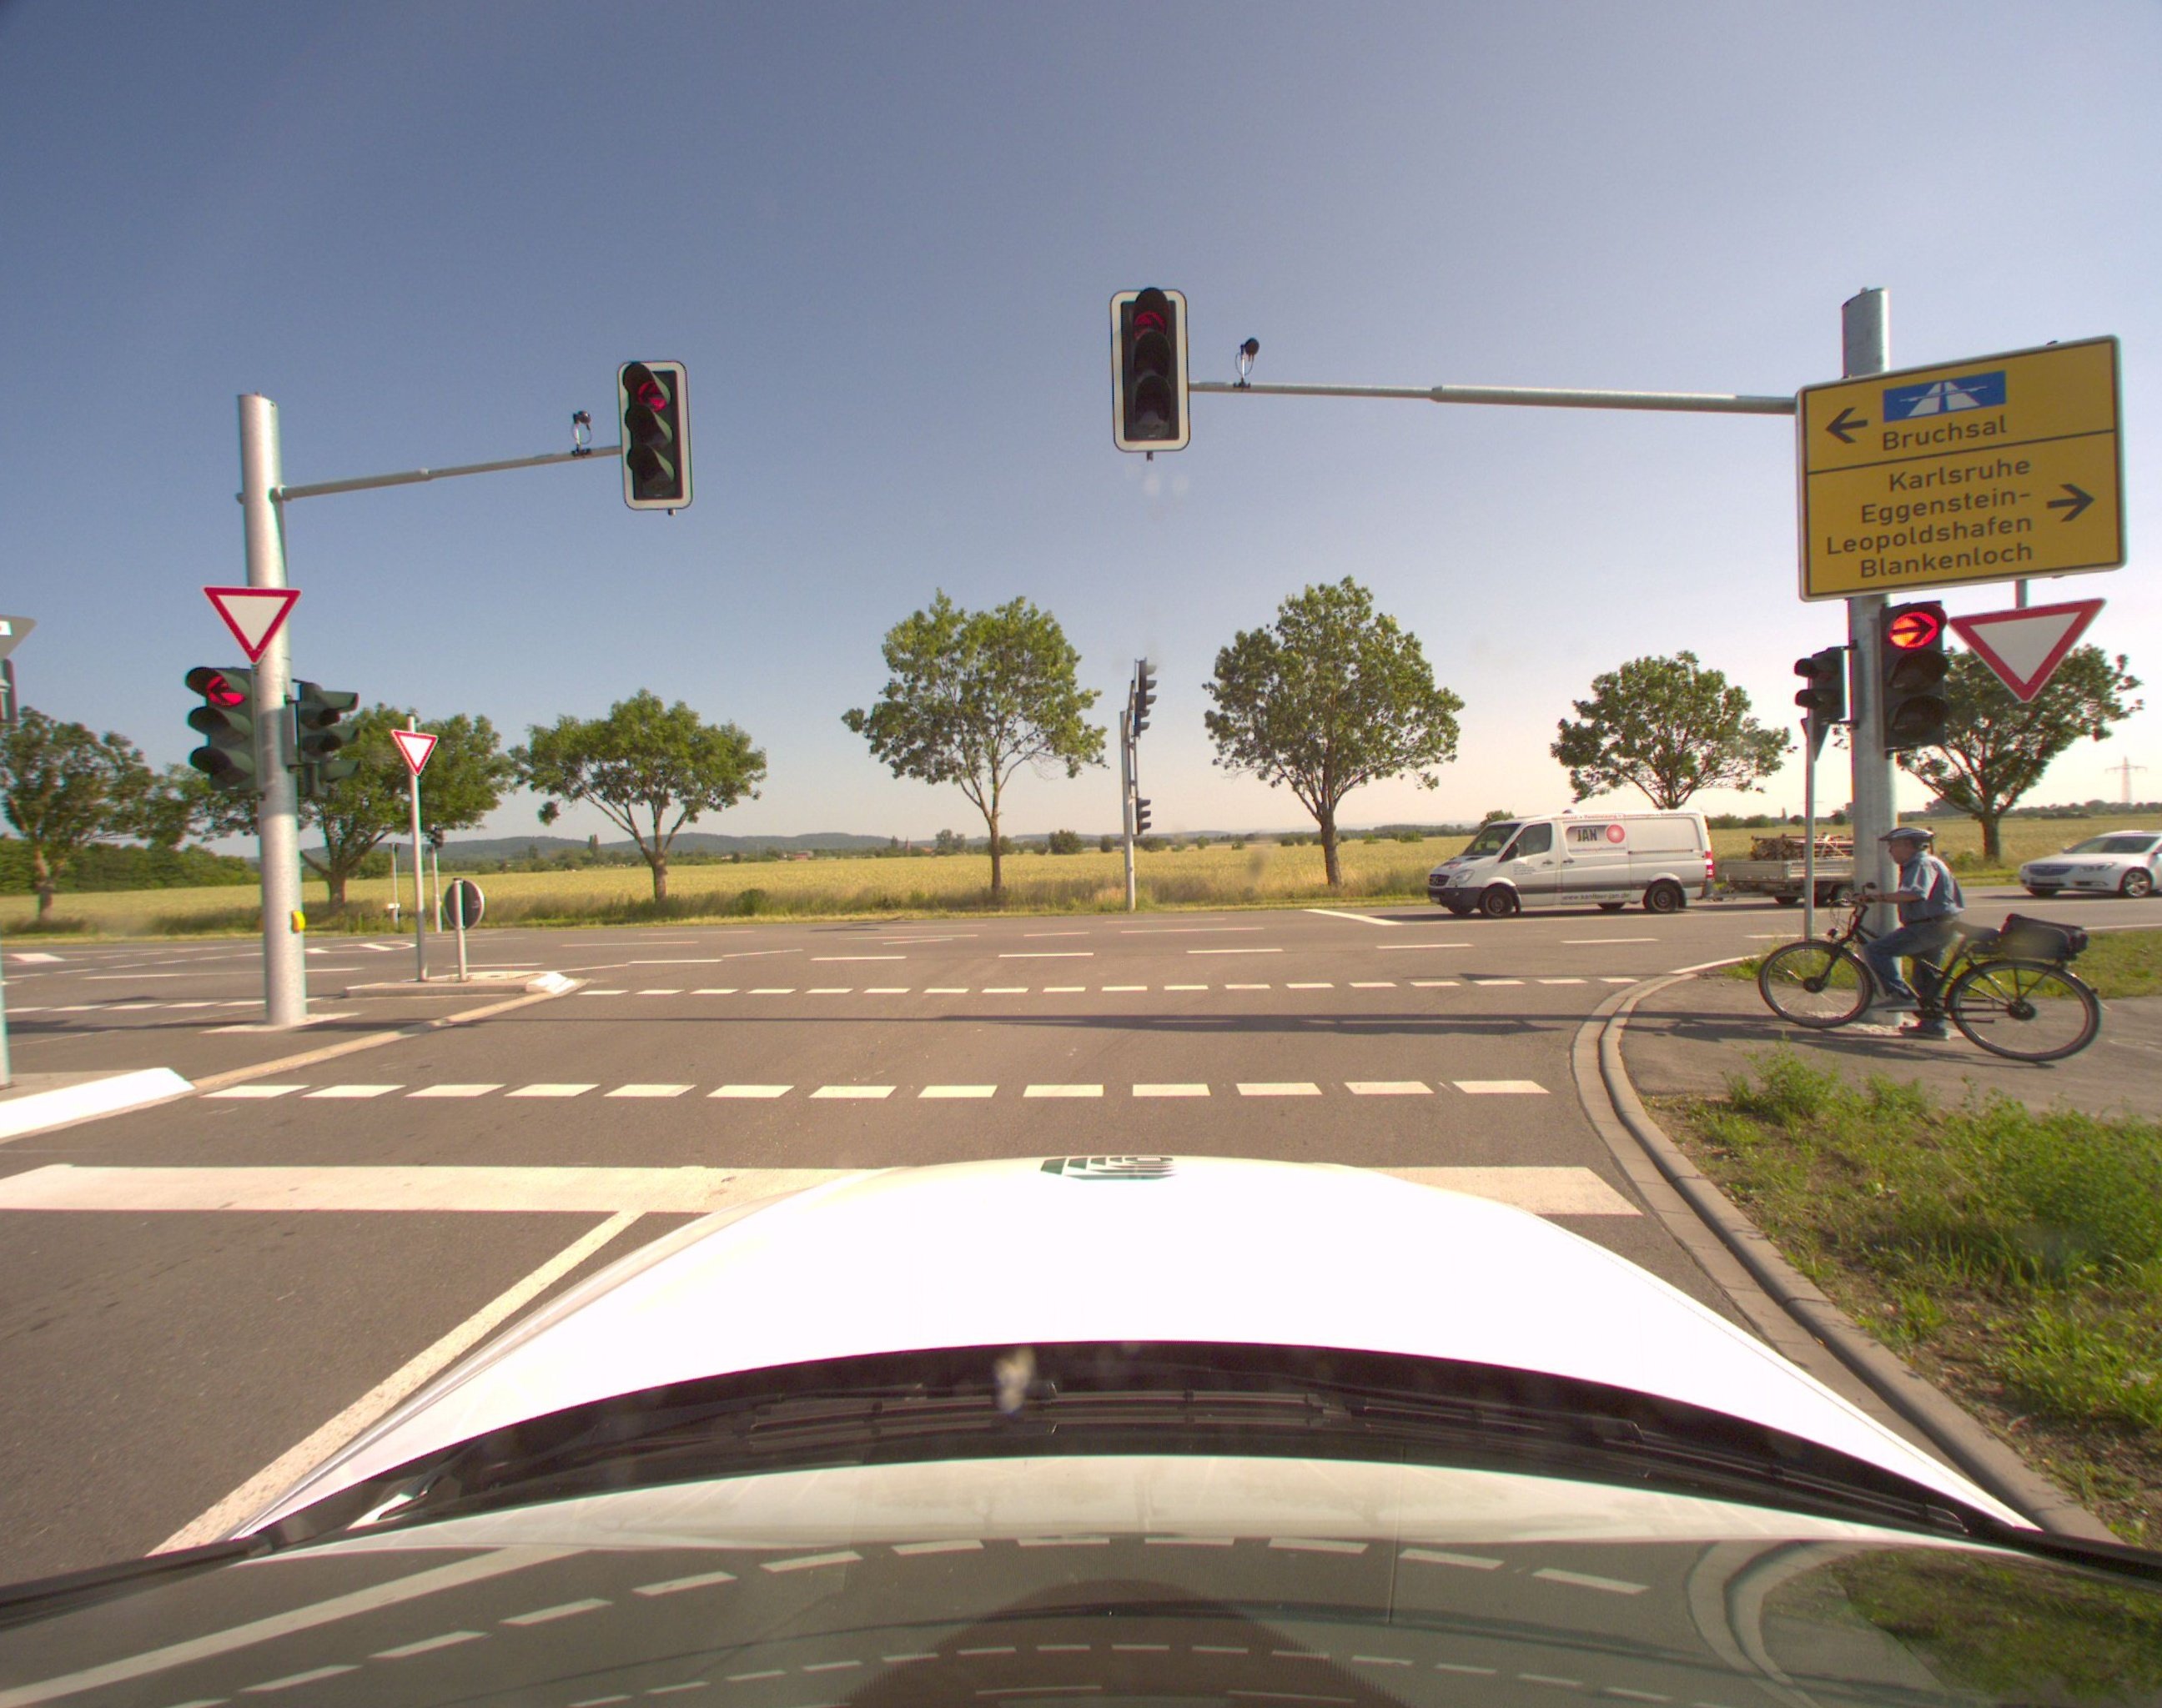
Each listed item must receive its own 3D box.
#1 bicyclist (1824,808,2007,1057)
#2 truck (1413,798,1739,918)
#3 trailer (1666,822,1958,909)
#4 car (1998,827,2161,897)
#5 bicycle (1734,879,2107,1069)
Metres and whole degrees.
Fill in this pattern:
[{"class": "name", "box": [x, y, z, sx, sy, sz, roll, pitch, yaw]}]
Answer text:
[{"class": "bicyclist", "box": [6.430, 0.541, 6.307, 0.623, 1.765, 0.906, 0, 1, -44]}, {"class": "truck", "box": [11.125, 0.102, 18.659, 6.157, 2.405, 2.071, -2, -1, 0]}, {"class": "trailer", "box": [16.708, 0.263, 18.806, 4.980, 1.738, 1.980, -2, -1, -1]}, {"class": "car", "box": [24.626, 0.131, 18.992, 4.682, 1.492, 1.763, -2, -1, -3]}, {"class": "bicycle", "box": [6.398, 0.832, 6.364, 0.685, 1.151, 1.922, 0, 2, -44]}]
